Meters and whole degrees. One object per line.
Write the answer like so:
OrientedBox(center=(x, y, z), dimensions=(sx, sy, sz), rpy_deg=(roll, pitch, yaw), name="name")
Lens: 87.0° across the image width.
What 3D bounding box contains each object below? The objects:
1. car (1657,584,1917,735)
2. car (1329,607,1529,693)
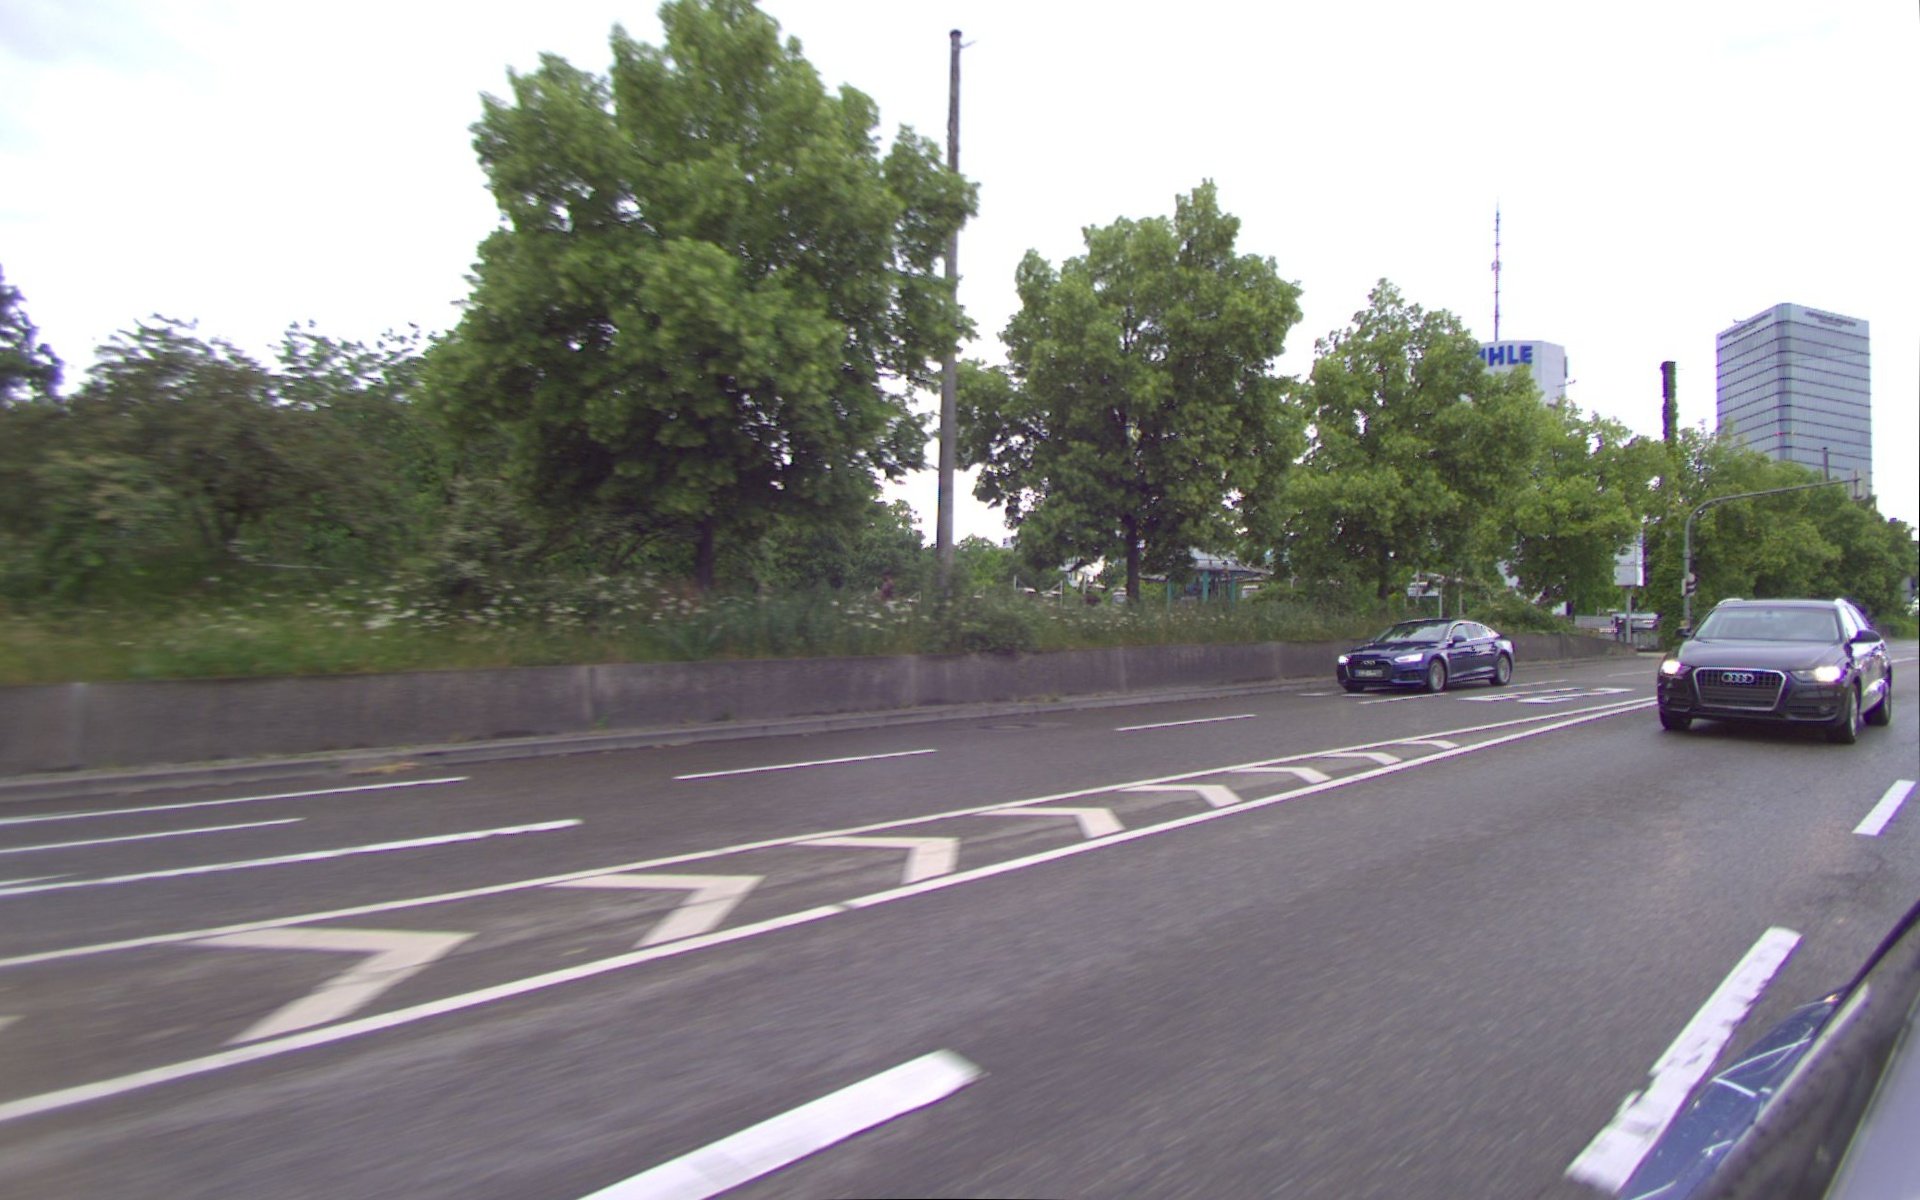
OrientedBox(center=(10.218, 0.638, 12.407), dimensions=(4.053, 1.553, 1.728), rpy_deg=(0, -2, -40), name="car")
OrientedBox(center=(9.325, 0.913, 19.997), dimensions=(4.269, 1.444, 1.875), rpy_deg=(-1, -1, -39), name="car")
